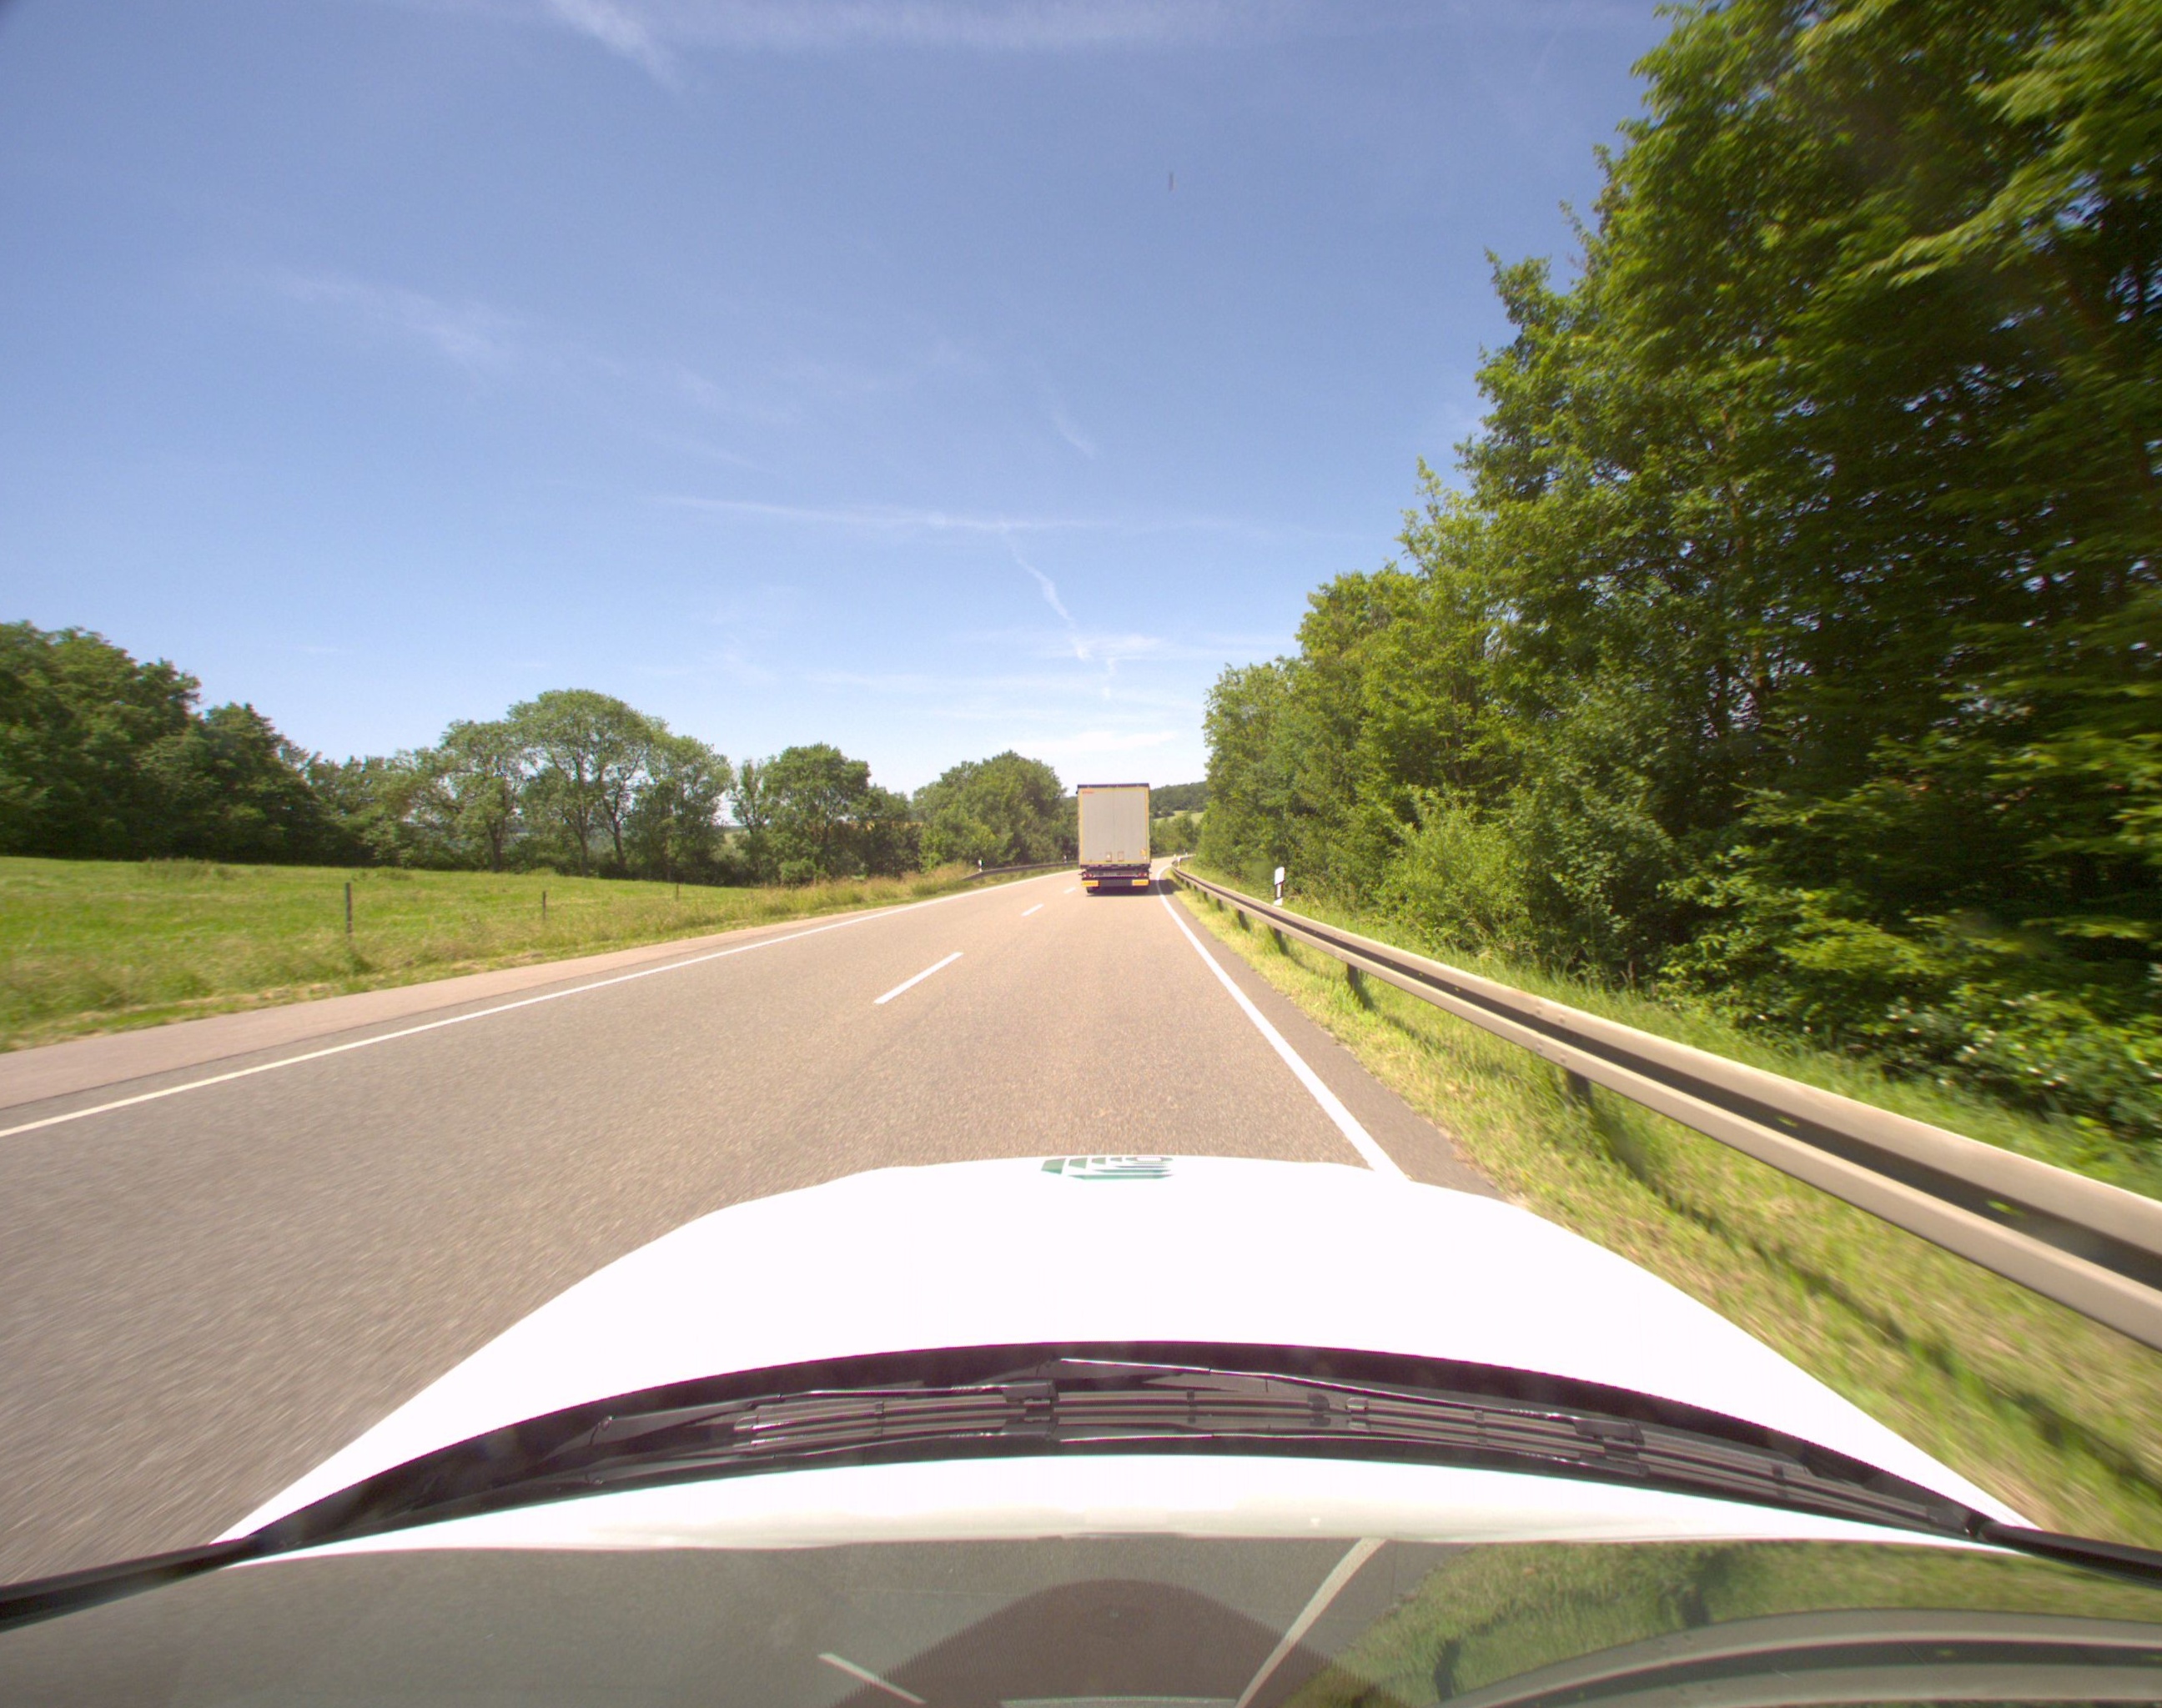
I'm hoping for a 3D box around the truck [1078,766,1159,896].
[{"bbox_3d":[1.682,-0.815,34.587,2.805,4.532,11.779,-1,0,4],"label":"truck"}]
